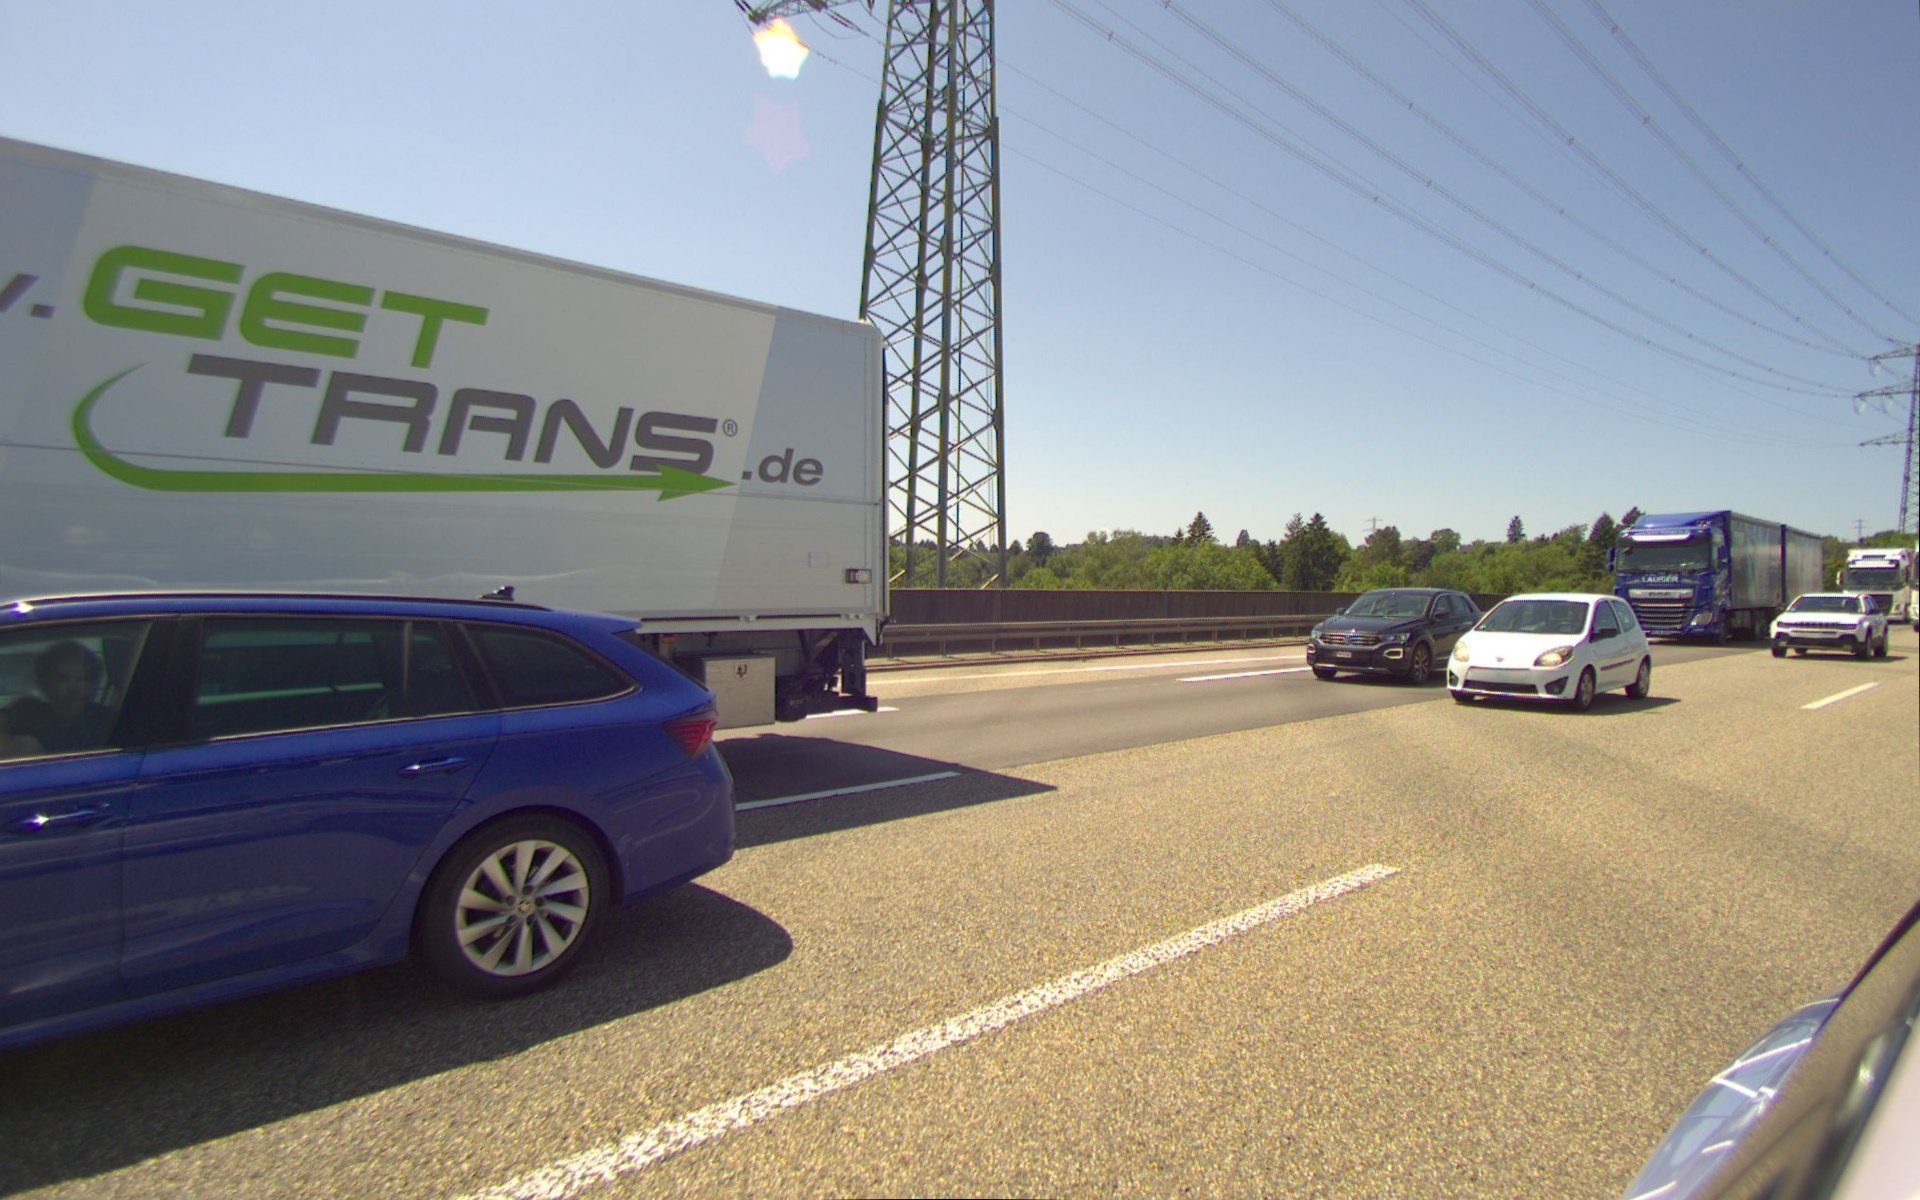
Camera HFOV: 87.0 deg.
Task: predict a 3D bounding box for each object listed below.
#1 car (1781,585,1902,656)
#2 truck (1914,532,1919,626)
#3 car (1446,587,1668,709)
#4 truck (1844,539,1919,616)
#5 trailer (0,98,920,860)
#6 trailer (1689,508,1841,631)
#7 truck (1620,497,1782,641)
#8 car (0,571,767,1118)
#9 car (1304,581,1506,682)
[{"bbox_3d":[20.996,0.439,24.072,3.688,1.554,1.720,0,1,-42],"label":"car"},{"bbox_3d":[43.597,-0.925,43.706,6.625,3.941,2.911,-1,0,-42],"label":"truck"},{"bbox_3d":[8.231,0.556,13.842,3.566,1.458,1.582,0,1,-41],"label":"car"},{"bbox_3d":[50.568,-1.191,55.045,6.625,3.941,2.911,-1,0,-42],"label":"truck"},{"bbox_3d":[-4.307,-0.592,7.004,8.149,3.640,2.848,0,0,-42],"label":"trailer"},{"bbox_3d":[30.244,-1.082,37.767,10.696,4.044,2.541,-1,0,-41],"label":"trailer"},{"bbox_3d":[23.306,-0.885,31.655,7.790,4.018,2.515,0,0,-42],"label":"truck"},{"bbox_3d":[-3.024,0.642,3.431,4.422,1.458,1.712,0,1,-41],"label":"car"},{"bbox_3d":[7.630,0.450,17.209,3.821,1.524,1.708,0,1,-41],"label":"car"}]
